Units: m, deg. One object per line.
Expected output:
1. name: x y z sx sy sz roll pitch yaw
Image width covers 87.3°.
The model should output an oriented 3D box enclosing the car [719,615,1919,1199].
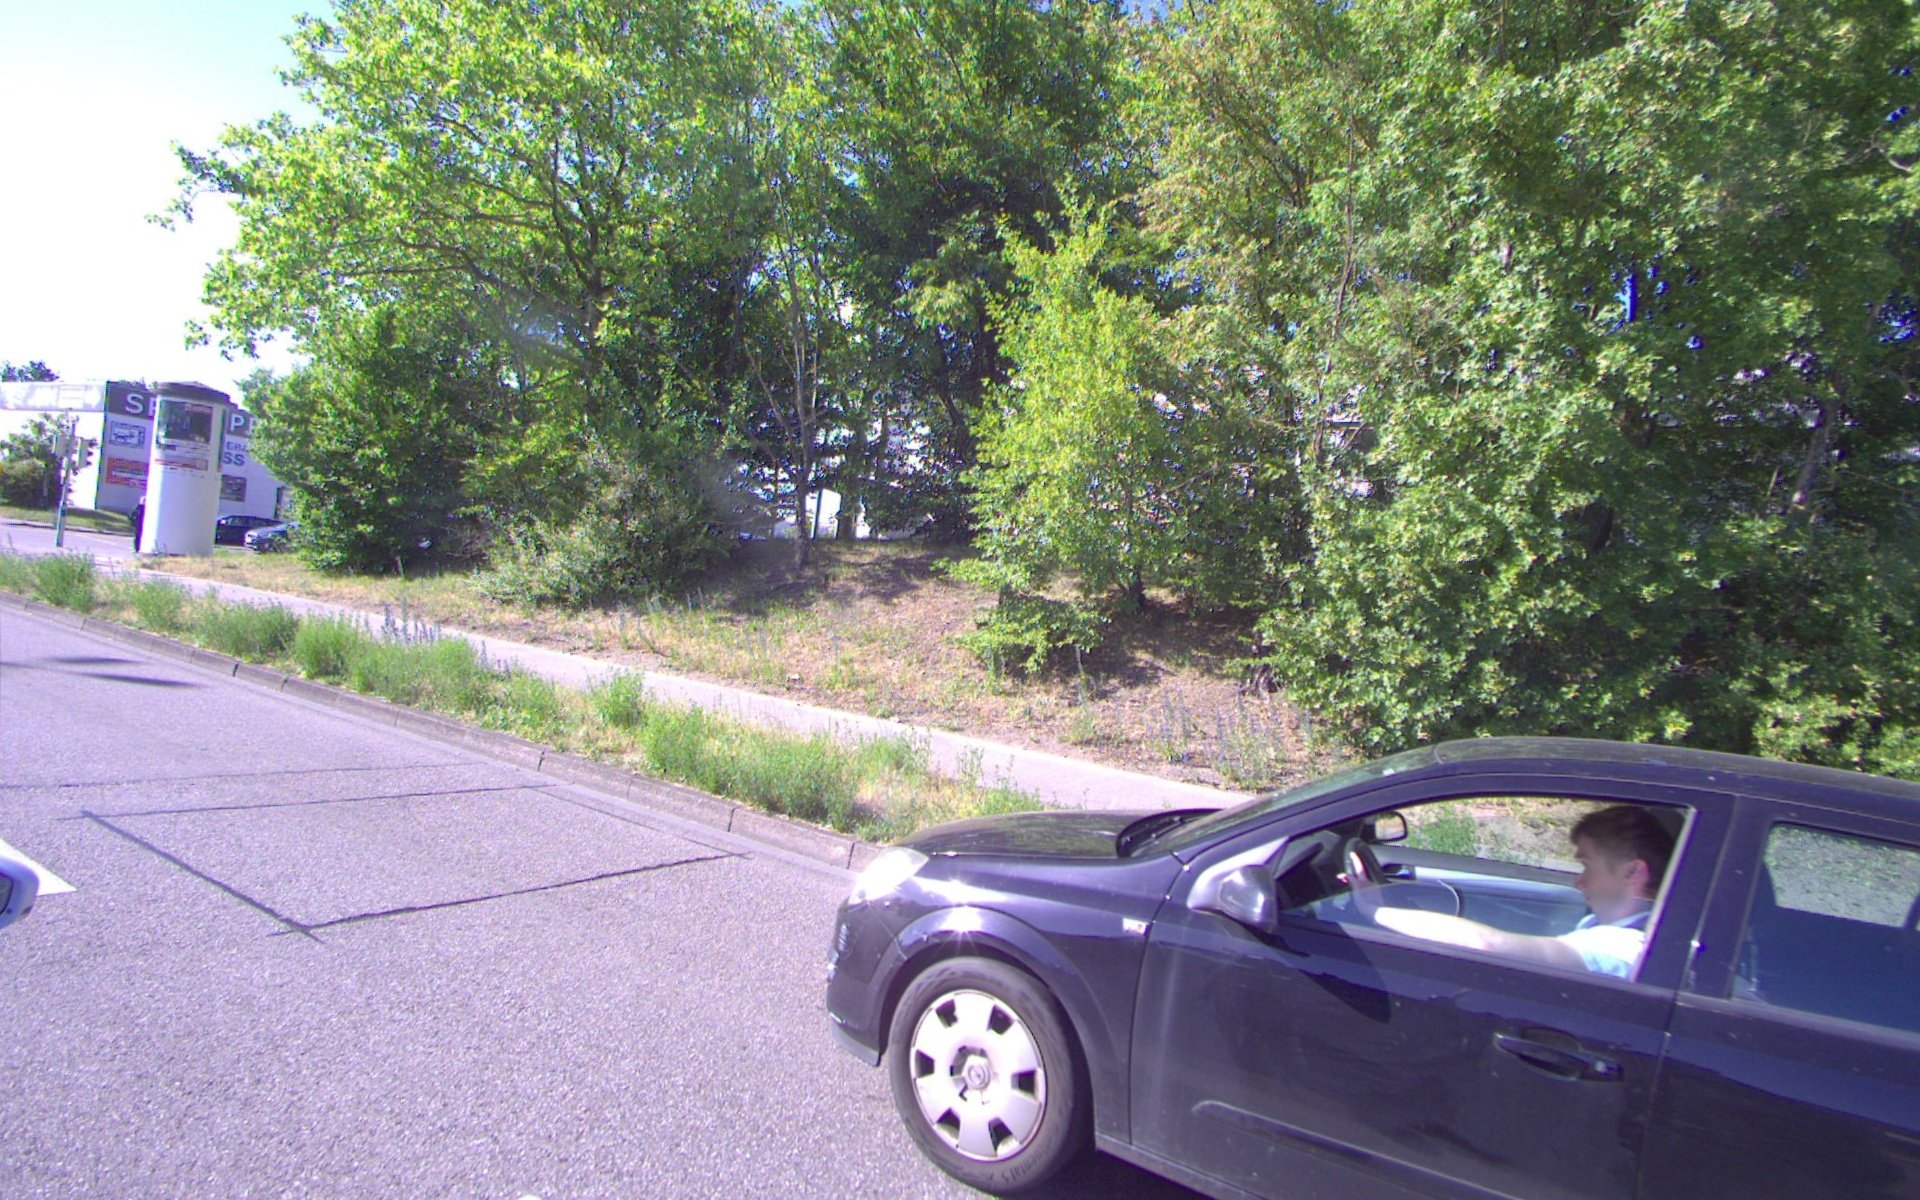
1. car: 1.609 1.065 2.703 4.299 1.458 1.737 7 -2 32

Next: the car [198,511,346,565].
1. car: -29.271 -2.601 42.983 1.729 1.484 4.830 6 -2 30

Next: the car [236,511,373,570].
1. car: -26.688 -2.381 41.115 1.611 1.668 4.315 6 -2 31

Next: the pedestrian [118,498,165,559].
1. pedestrian: -24.676 -2.149 30.339 0.506 1.688 0.818 6 -1 31
